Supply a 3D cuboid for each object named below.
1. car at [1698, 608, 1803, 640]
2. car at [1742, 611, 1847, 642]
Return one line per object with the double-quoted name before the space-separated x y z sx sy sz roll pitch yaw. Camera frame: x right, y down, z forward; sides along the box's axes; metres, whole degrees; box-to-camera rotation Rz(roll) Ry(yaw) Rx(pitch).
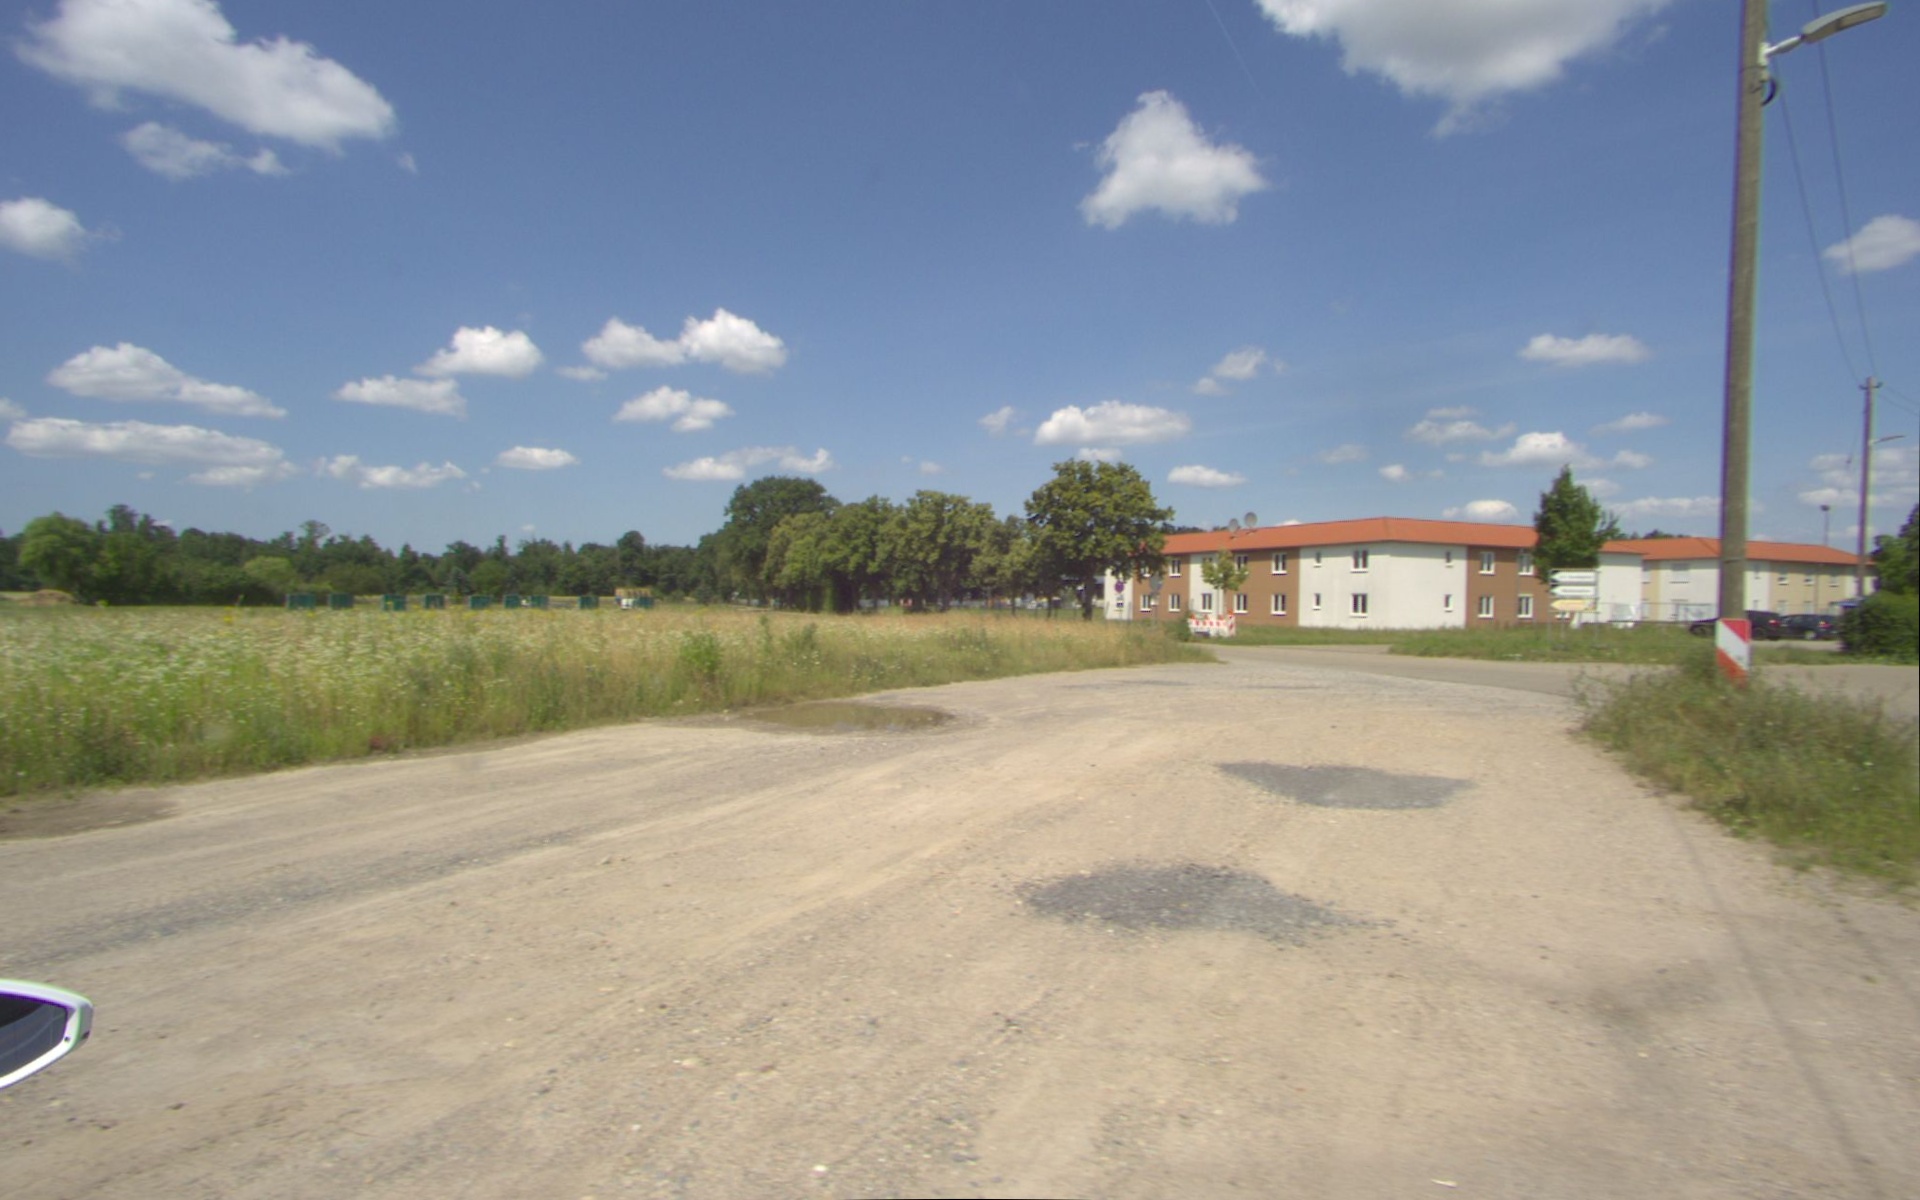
"car" 43.674 1.298 55.431 1.969 1.636 4.131 1 0 -26
"car" 47.283 1.485 56.853 1.969 1.636 4.131 1 0 -26
